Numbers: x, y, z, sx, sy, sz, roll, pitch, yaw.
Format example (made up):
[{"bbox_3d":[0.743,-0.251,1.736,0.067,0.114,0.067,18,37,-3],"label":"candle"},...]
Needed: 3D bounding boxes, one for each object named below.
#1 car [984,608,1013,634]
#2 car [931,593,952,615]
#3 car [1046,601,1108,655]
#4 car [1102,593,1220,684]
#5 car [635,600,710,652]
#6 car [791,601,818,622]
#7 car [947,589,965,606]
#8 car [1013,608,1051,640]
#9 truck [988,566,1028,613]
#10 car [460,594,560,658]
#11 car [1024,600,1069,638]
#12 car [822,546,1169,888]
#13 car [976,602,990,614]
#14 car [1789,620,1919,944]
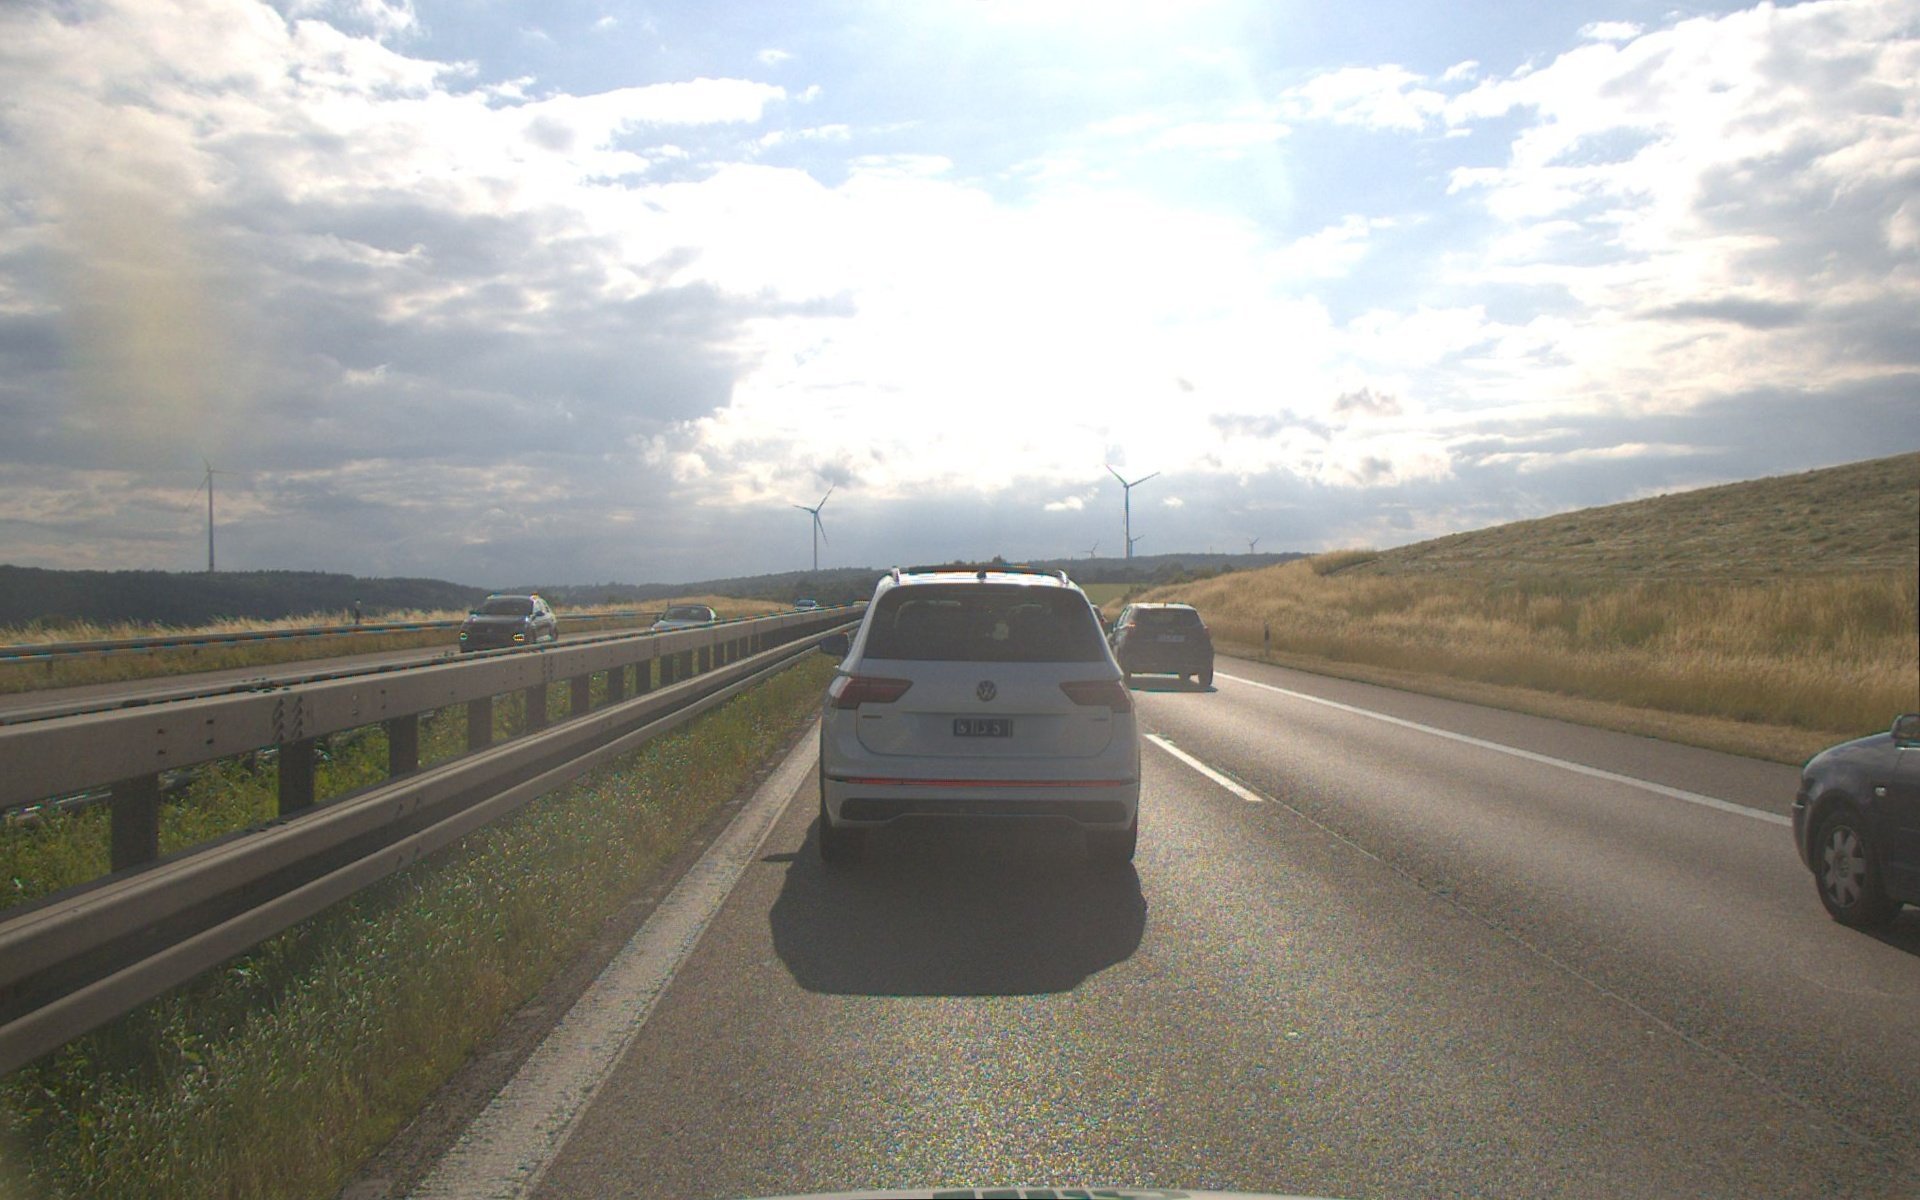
[{"bbox_3d":[2.418,1.305,104.759,1.669,1.573,3.999,1,0,-1],"label":"car"},{"bbox_3d":[-1.475,0.334,130.922,1.669,1.679,3.999,1,0,-1],"label":"car"},{"bbox_3d":[3.784,0.894,53.941,1.669,1.679,3.999,1,0,-1],"label":"car"},{"bbox_3d":[3.730,0.694,31.259,1.669,1.573,3.999,1,0,-1],"label":"car"},{"bbox_3d":[-8.272,0.733,47.921,1.583,1.416,3.998,1,0,-2],"label":"car"},{"bbox_3d":[-11.702,0.844,124.420,1.714,1.505,4.478,1,0,-2],"label":"car"},{"bbox_3d":[-0.404,-0.240,160.786,1.669,1.573,3.999,1,0,-1],"label":"car"},{"bbox_3d":[3.640,1.227,84.482,1.669,1.573,3.999,1,0,-1],"label":"car"},{"bbox_3d":[3.877,-0.889,136.779,3.118,3.656,11.131,1,0,1],"label":"truck"},{"bbox_3d":[-11.603,0.651,42.859,1.583,1.547,3.998,1,0,-2],"label":"car"},{"bbox_3d":[3.744,0.832,72.451,1.669,1.573,3.999,1,0,-1],"label":"car"},{"bbox_3d":[0.148,0.605,10.376,1.734,1.705,3.999,1,0,-1],"label":"car"},{"bbox_3d":[3.111,1.147,224.462,1.669,1.573,3.999,1,0,-1],"label":"car"},{"bbox_3d":[5.108,0.827,6.708,1.573,1.445,3.671,1,0,-2],"label":"car"}]
